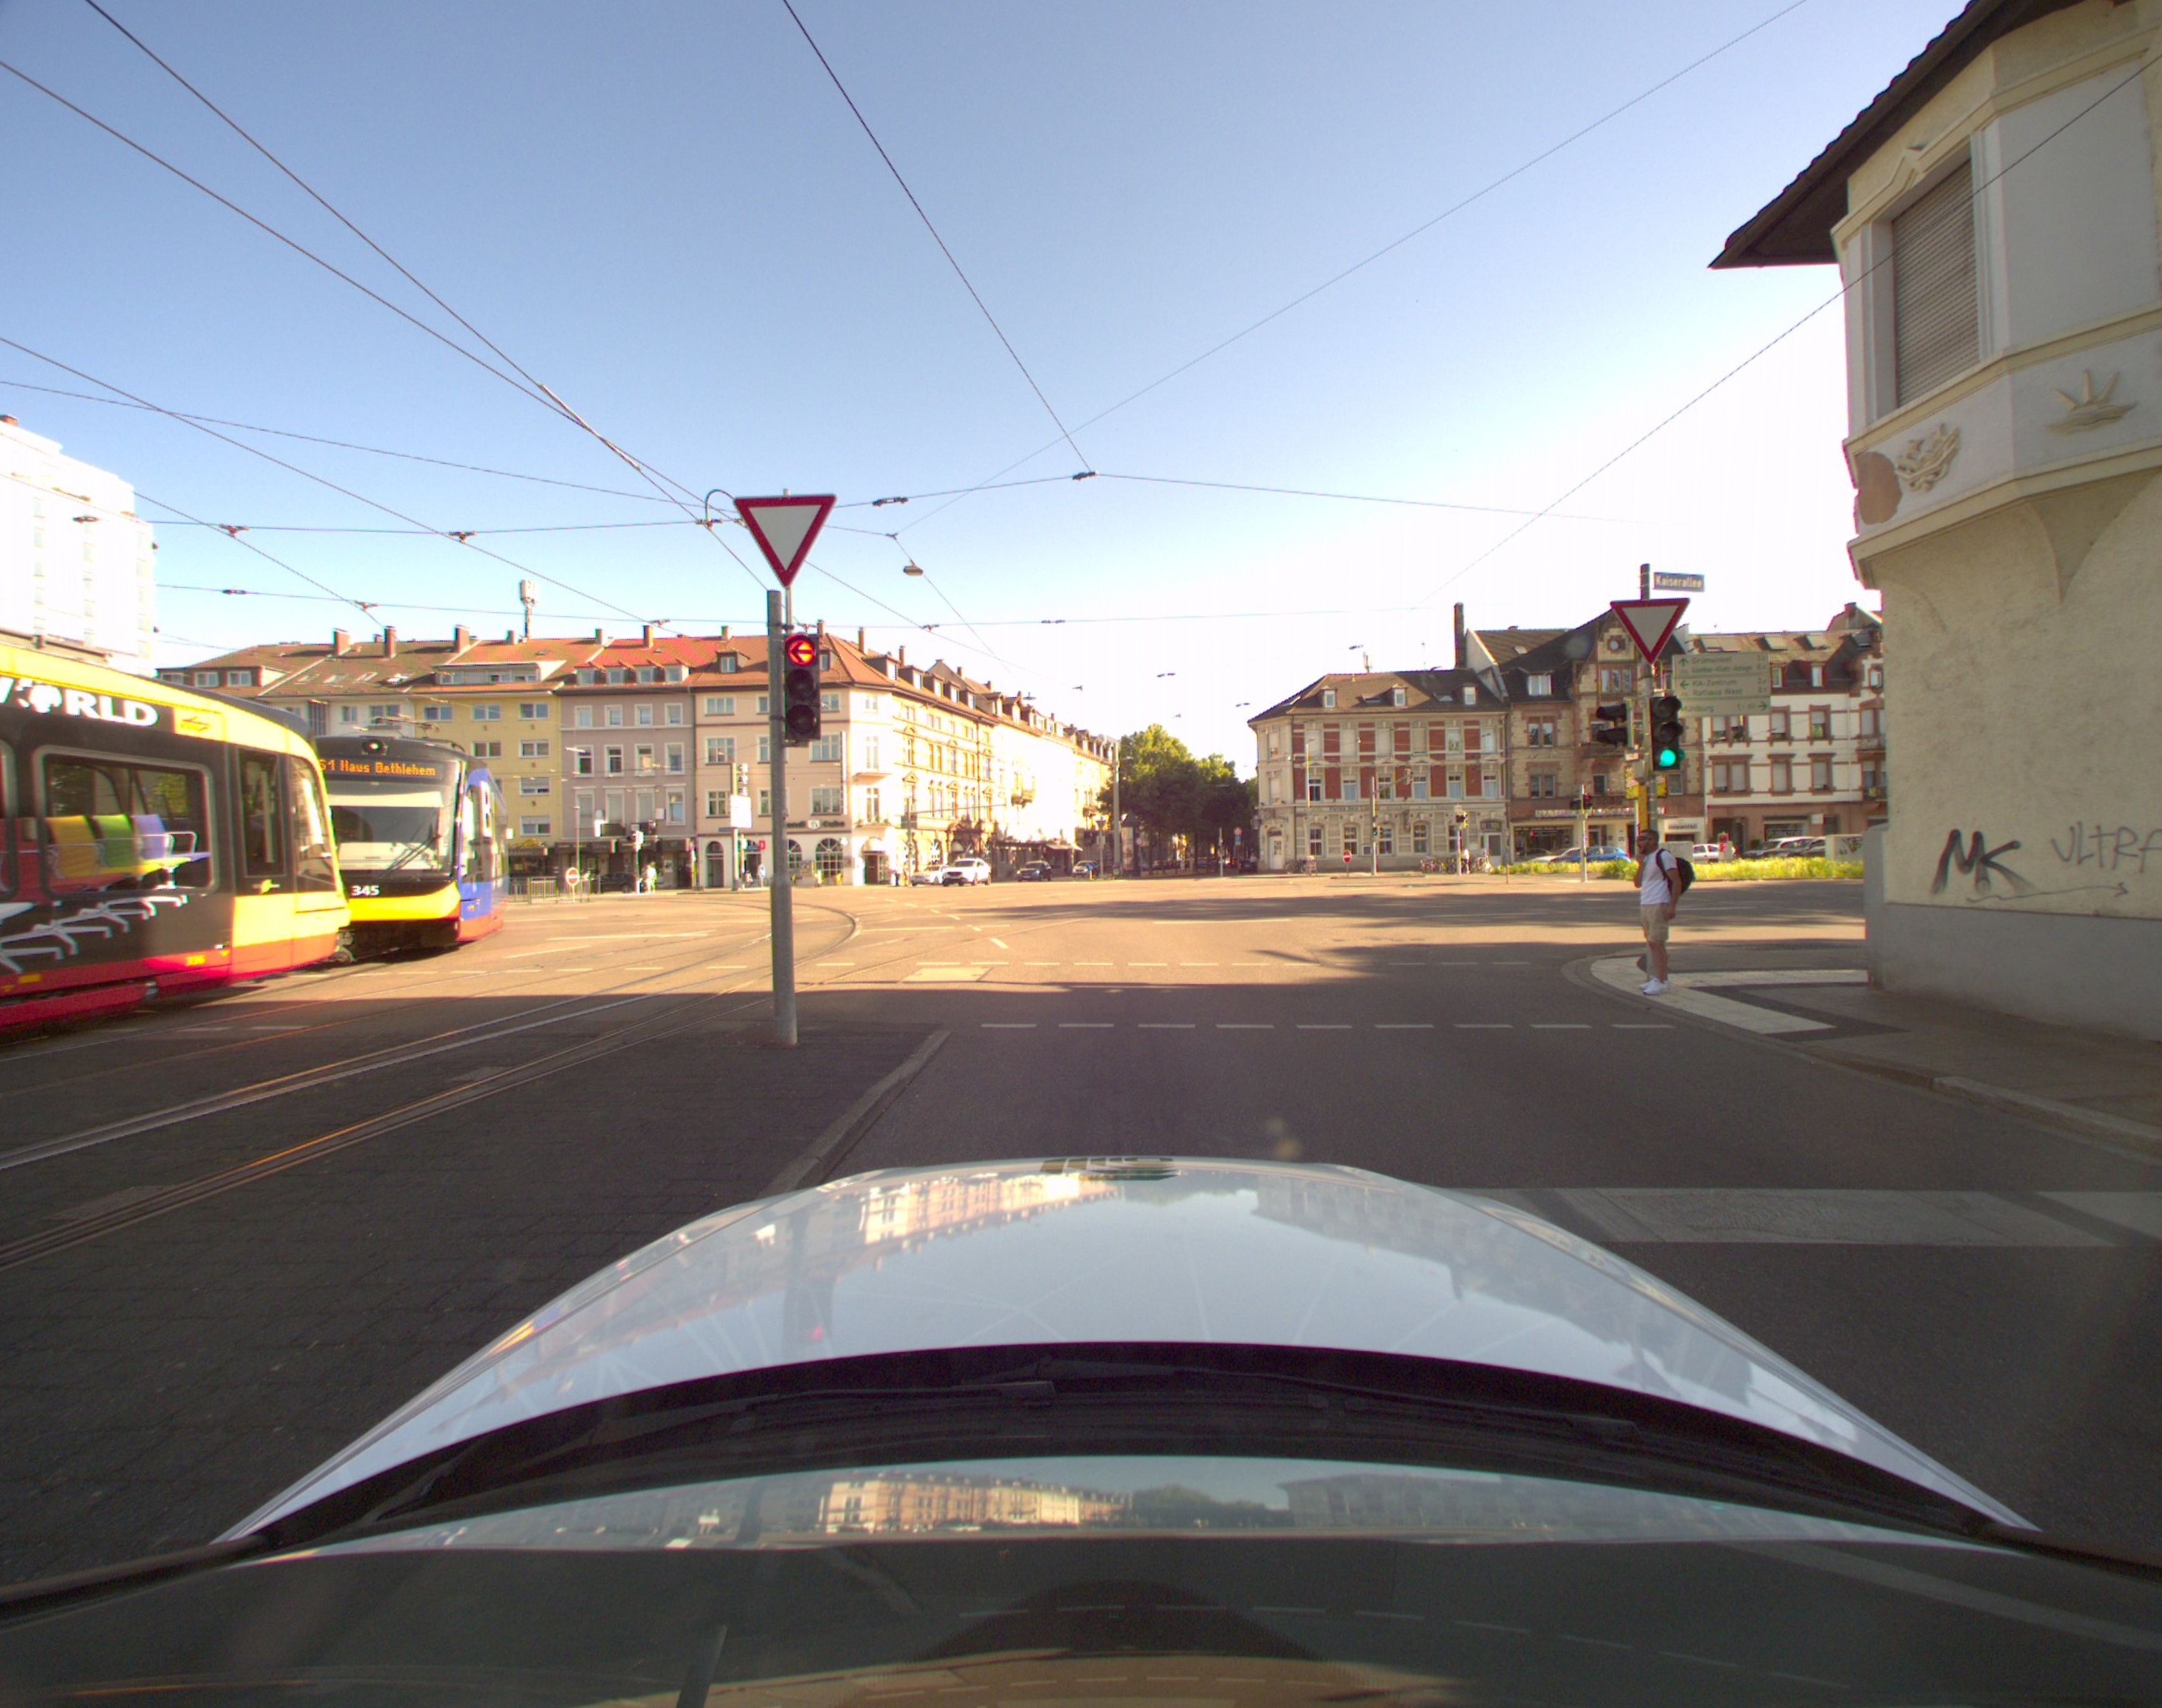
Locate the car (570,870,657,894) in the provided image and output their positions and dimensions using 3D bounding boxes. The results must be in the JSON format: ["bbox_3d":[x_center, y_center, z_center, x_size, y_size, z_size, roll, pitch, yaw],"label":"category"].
[{"bbox_3d":[-30.697,1.827,53.538,4.626,1.440,1.743,-1,-1,-1],"label":"car"}]

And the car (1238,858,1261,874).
[{"bbox_3d":[17.022,1.148,82.170,1.978,1.497,4.051,-2,0,16],"label":"car"}]

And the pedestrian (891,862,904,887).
[{"bbox_3d":[-12.696,1.414,56.421,0.670,1.642,0.581,-2,0,15],"label":"pedestrian"}]

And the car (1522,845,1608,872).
[{"bbox_3d":[28.514,0.262,48.025,3.973,1.412,1.846,-1,0,1],"label":"car"}]

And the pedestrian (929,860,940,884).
[{"bbox_3d":[-11.236,1.399,62.613,0.575,1.836,0.636,-2,0,18],"label":"pedestrian"}]

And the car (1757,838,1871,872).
[{"bbox_3d":[40.143,0.056,44.698,4.456,1.668,1.955,-1,0,1],"label":"car"}]

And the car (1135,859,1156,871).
[{"bbox_3d":[8.942,1.552,112.842,1.978,1.497,4.051,-2,0,16],"label":"car"}]

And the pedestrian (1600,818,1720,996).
[{"bbox_3d":[6.055,0.537,8.531,0.691,1.740,0.668,-4,-1,-28],"label":"pedestrian"}]

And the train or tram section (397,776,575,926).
[{"bbox_3d":[-18.838,0.013,25.261,3.082,3.613,12.350,-1,0,-42],"label":"train or tram section"}]

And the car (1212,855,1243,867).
[{"bbox_3d":[20.889,1.007,116.200,3.948,1.545,2.013,-2,0,32],"label":"car"}]

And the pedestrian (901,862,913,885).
[{"bbox_3d":[-12.305,1.368,57.662,0.626,1.642,0.554,-2,0,15],"label":"pedestrian"}]

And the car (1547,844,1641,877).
[{"bbox_3d":[28.322,0.340,45.032,3.973,1.668,1.955,-1,0,1],"label":"car"}]

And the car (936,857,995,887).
[{"bbox_3d":[-6.277,0.971,44.817,1.981,1.497,4.359,-2,0,9],"label":"car"}]

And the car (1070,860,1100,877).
[{"bbox_3d":[0.390,1.297,74.784,1.705,1.497,3.599,-2,0,16],"label":"car"}]

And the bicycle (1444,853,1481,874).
[{"bbox_3d":[23.645,0.585,50.510,1.952,1.191,0.602,-1,0,4],"label":"bicycle"}]

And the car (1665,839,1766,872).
[{"bbox_3d":[34.809,0.094,44.766,3.973,1.668,1.955,-1,0,1],"label":"car"}]

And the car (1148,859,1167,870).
[{"bbox_3d":[11.531,1.615,122.508,1.978,1.497,4.051,-2,0,16],"label":"car"}]

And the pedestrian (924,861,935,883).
[{"bbox_3d":[-11.740,1.409,63.065,0.635,1.642,0.547,-1,0,-30],"label":"pedestrian"}]

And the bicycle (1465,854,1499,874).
[{"bbox_3d":[25.749,0.640,52.312,1.961,1.191,0.677,-1,0,-10],"label":"bicycle"}]

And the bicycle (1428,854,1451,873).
[{"bbox_3d":[23.203,0.626,52.779,0.674,1.191,1.969,-1,0,3],"label":"bicycle"}]

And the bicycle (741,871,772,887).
[{"bbox_3d":[-22.806,1.728,57.253,1.940,1.067,0.582,-1,0,-6],"label":"bicycle"}]

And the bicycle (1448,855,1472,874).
[{"bbox_3d":[24.527,0.697,52.739,0.674,1.191,1.969,-1,0,3],"label":"bicycle"}]

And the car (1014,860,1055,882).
[{"bbox_3d":[-3.312,1.222,59.294,1.762,1.497,4.589,-2,0,12],"label":"car"}]

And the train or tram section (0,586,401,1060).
[{"bbox_3d":[-9.504,-0.219,4.348,3.054,3.613,12.079,-1,0,-8],"label":"train or tram section"}]

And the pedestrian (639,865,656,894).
[{"bbox_3d":[-25.090,1.467,47.101,0.727,1.627,0.667,-1,0,-19],"label":"pedestrian"}]

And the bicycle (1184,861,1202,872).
[{"bbox_3d":[11.340,1.283,82.649,0.586,1.067,1.928,-1,0,-34],"label":"bicycle"}]

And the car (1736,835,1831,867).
[{"bbox_3d":[45.240,-0.186,52.499,4.388,1.965,1.955,-1,0,1],"label":"car"}]

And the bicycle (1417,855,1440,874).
[{"bbox_3d":[22.502,0.647,52.769,0.674,1.191,1.969,-1,0,3],"label":"bicycle"}]

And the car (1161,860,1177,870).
[{"bbox_3d":[14.247,1.776,131.645,1.978,1.497,4.051,-2,0,16],"label":"car"}]

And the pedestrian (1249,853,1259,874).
[{"bbox_3d":[13.792,0.727,65.038,0.710,1.669,0.943,-2,0,14],"label":"pedestrian"}]

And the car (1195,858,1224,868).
[{"bbox_3d":[20.211,1.444,128.013,3.949,1.545,2.012,-2,0,30],"label":"car"}]

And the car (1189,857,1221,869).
[{"bbox_3d":[17.538,1.273,115.430,3.949,1.545,2.012,-2,0,30],"label":"car"}]

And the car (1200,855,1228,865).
[{"bbox_3d":[21.874,0.968,134.136,3.949,1.545,2.012,-2,0,30],"label":"car"}]

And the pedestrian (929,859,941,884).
[{"bbox_3d":[-11.195,1.367,62.505,0.676,1.908,0.636,-2,0,18],"label":"pedestrian"}]

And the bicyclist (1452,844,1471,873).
[{"bbox_3d":[23.622,0.294,50.514,0.869,1.764,0.602,-1,0,4],"label":"bicyclist"}]

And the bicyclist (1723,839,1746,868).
[{"bbox_3d":[40.491,-0.046,50.494,0.900,1.764,0.601,-1,0,-1],"label":"bicyclist"}]

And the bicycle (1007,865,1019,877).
[{"bbox_3d":[-6.702,1.672,79.875,0.491,1.067,1.778,-2,0,18],"label":"bicycle"}]

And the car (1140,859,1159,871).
[{"bbox_3d":[9.913,1.581,117.308,1.978,1.497,4.051,-2,0,16],"label":"car"}]

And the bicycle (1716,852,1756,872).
[{"bbox_3d":[40.601,0.475,50.492,1.955,1.191,0.601,-1,0,-1],"label":"bicycle"}]

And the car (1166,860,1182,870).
[{"bbox_3d":[15.570,1.878,136.352,1.978,1.497,4.051,-2,0,16],"label":"car"}]

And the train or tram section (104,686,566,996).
[{"bbox_3d":[-12.552,-0.116,15.590,3.071,3.613,12.012,-1,0,-26],"label":"train or tram section"}]

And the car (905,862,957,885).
[{"bbox_3d":[-10.192,1.310,55.705,1.980,1.355,4.236,-2,0,12],"label":"car"}]

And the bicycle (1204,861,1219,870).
[{"bbox_3d":[15.904,1.356,99.058,0.586,1.067,1.928,-1,0,-34],"label":"bicycle"}]

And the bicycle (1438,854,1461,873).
[{"bbox_3d":[23.851,0.593,52.764,0.674,1.191,1.969,-1,0,3],"label":"bicycle"}]

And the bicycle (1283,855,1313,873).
[{"bbox_3d":[15.194,0.717,56.964,1.950,1.191,0.547,-2,0,6],"label":"bicycle"}]
